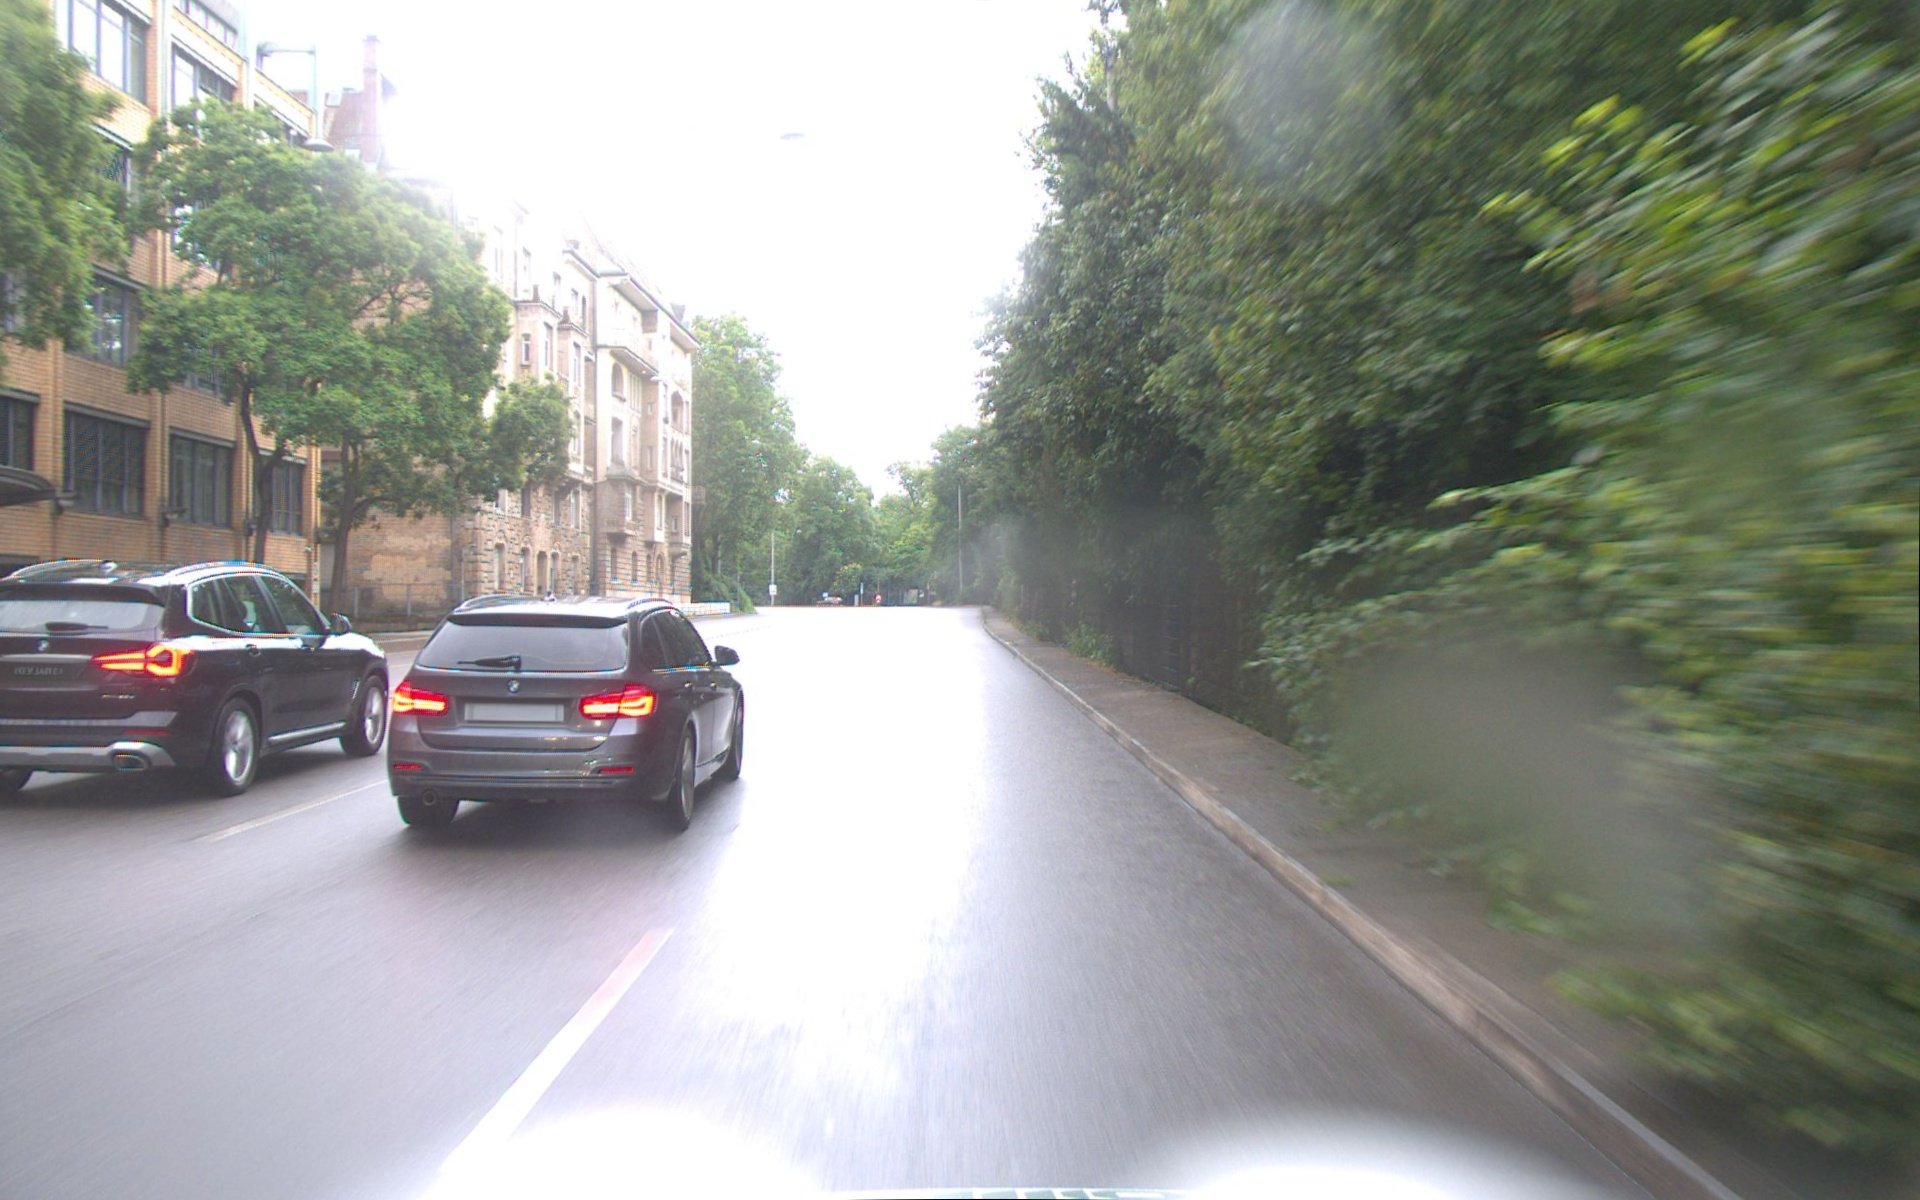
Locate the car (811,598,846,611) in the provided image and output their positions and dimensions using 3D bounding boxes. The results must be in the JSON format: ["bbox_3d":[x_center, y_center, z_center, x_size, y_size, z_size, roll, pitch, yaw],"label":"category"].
[{"bbox_3d":[-15.823,0.536,199.054,4.296,1.452,1.681,0,-3,44],"label":"car"}]

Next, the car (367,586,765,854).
[{"bbox_3d":[-2.473,0.677,11.507,1.722,1.457,4.412,2,0,-1],"label":"car"}]

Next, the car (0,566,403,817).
[{"bbox_3d":[-5.947,0.591,12.923,1.722,1.613,4.412,1,0,-1],"label":"car"}]
